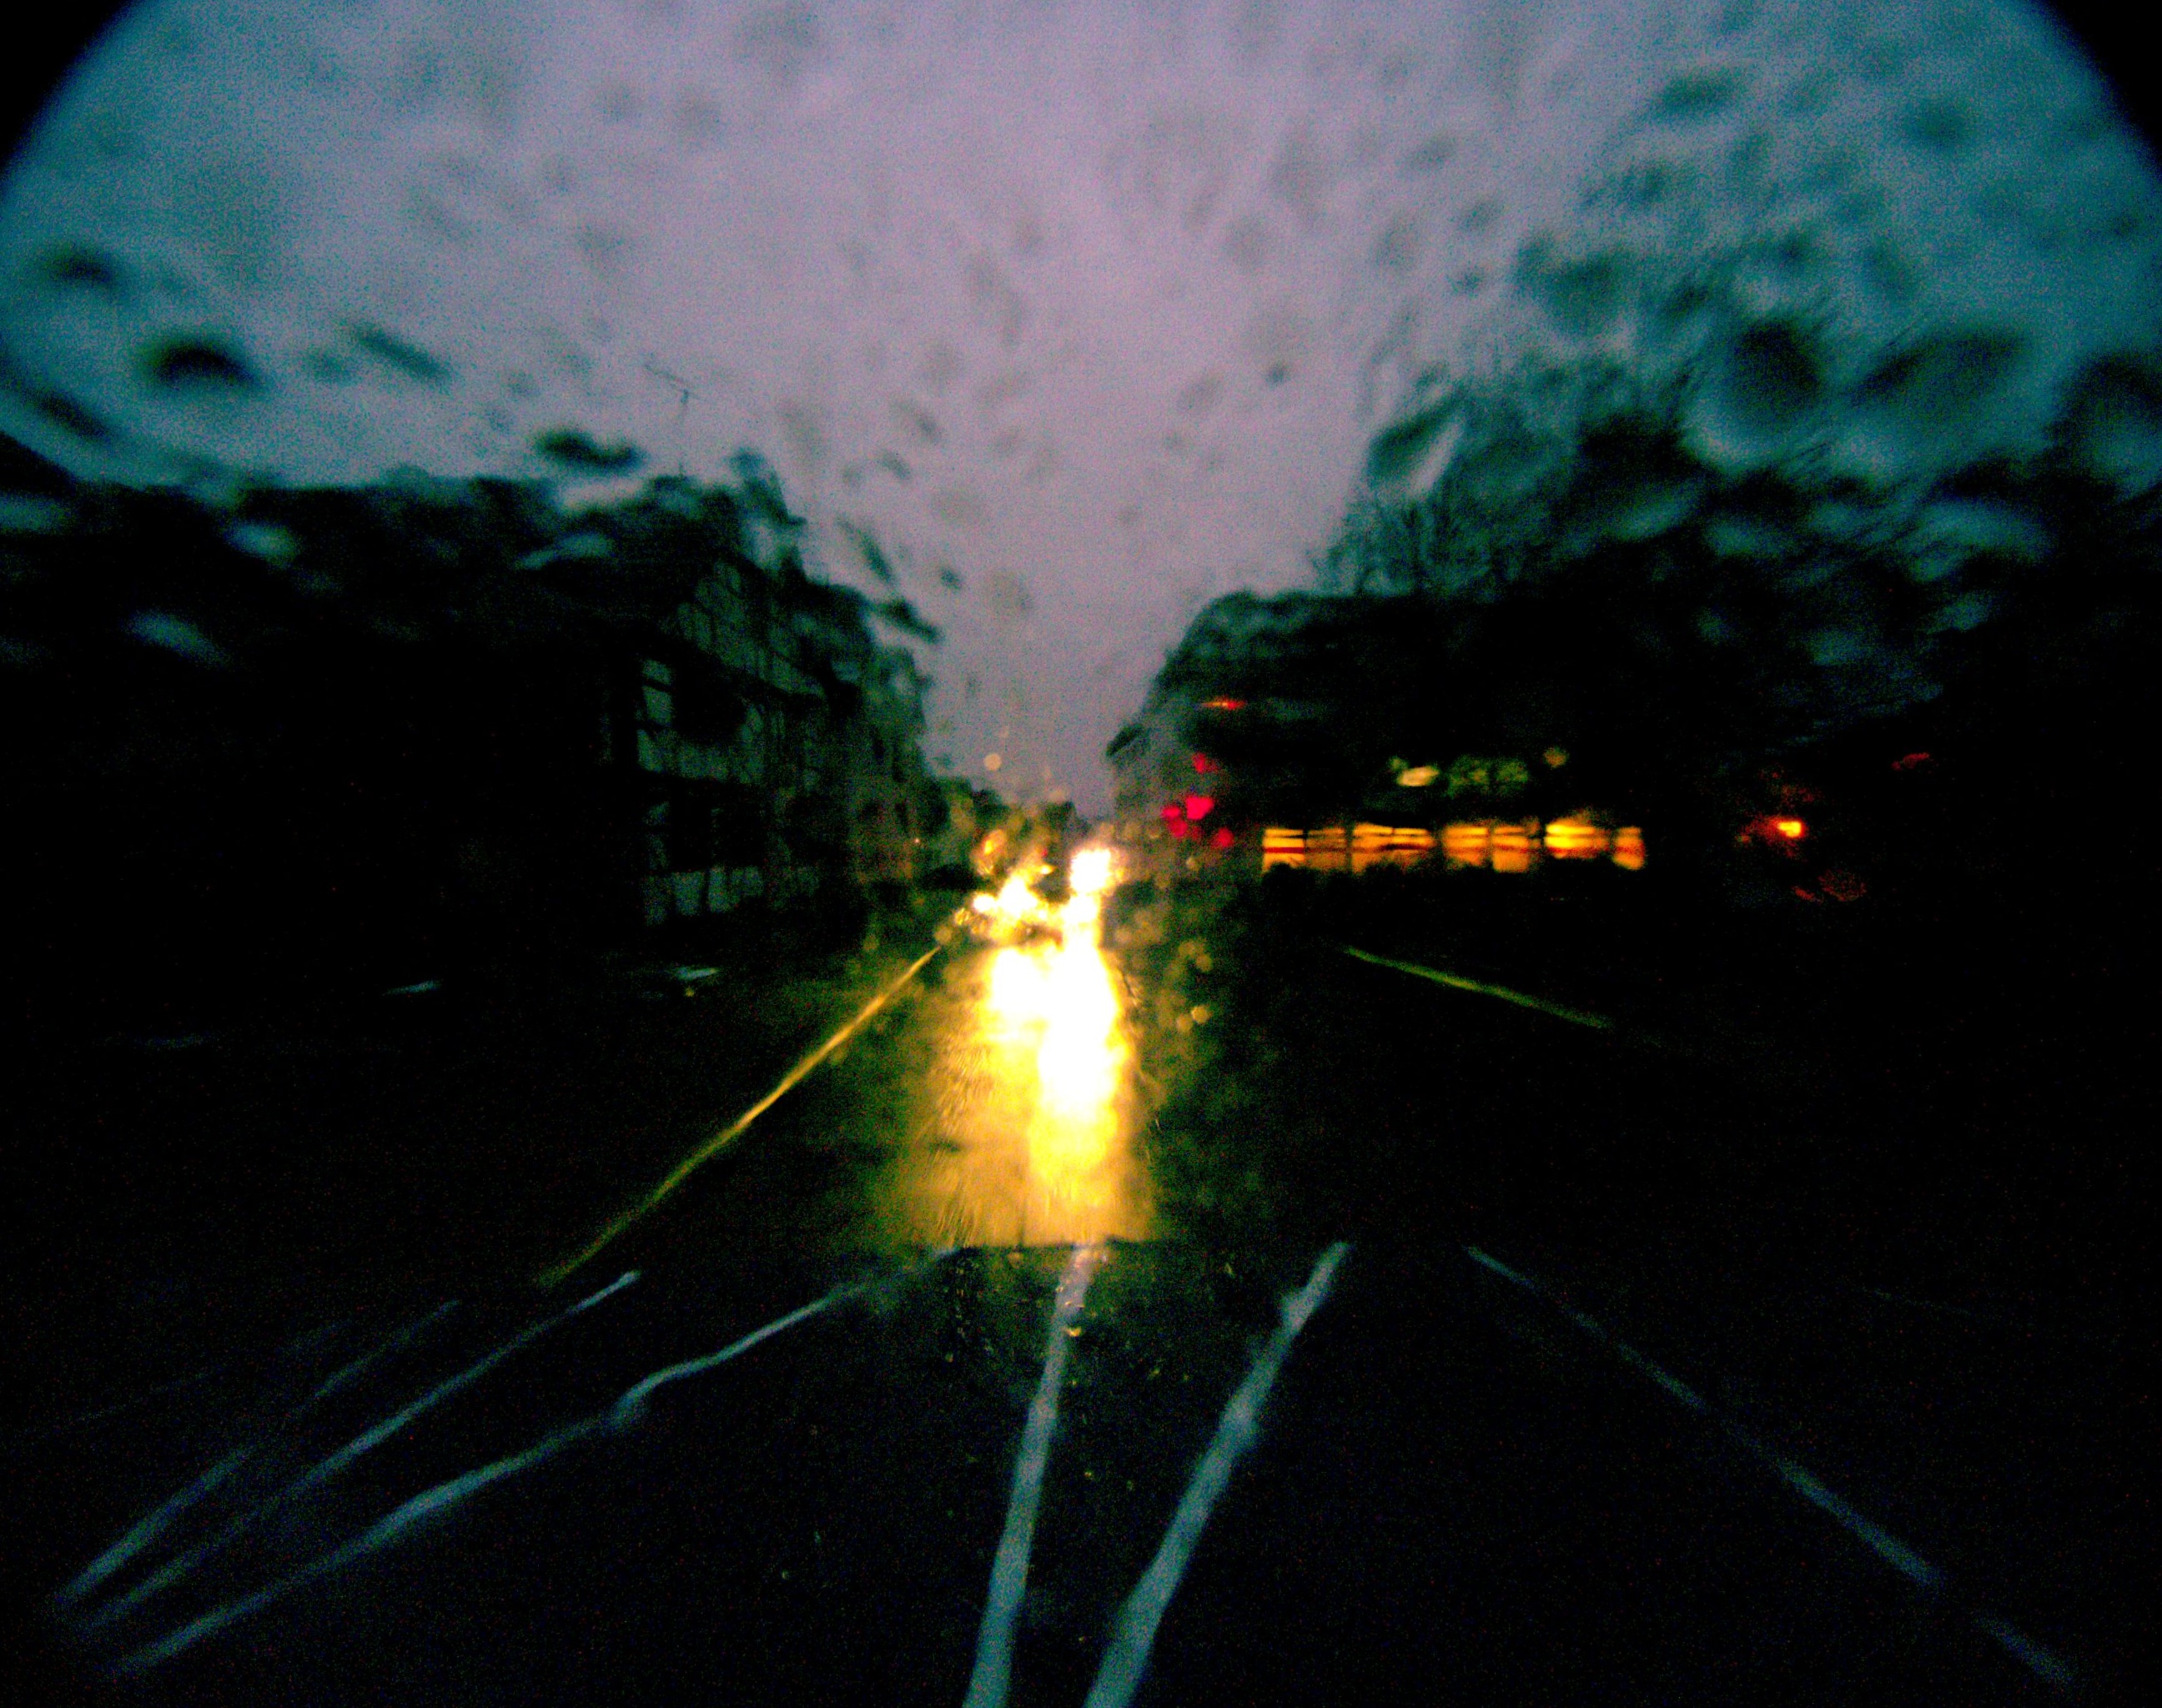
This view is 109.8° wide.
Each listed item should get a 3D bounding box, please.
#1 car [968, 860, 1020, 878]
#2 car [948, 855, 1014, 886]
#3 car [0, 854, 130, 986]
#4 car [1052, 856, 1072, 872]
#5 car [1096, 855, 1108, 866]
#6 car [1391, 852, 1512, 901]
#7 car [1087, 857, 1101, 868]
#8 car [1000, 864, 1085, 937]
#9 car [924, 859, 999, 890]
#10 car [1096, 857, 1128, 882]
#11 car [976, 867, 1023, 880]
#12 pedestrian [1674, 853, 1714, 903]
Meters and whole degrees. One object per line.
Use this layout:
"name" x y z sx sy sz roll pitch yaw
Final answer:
"car" -6.699 1.174 58.555 3.889 1.359 1.551 0 0 -3
"car" -6.068 0.998 46.243 3.891 1.866 1.868 0 0 -8
"car" -15.218 0.820 10.004 3.424 1.535 1.618 2 3 3
"car" -2.051 1.057 80.589 1.924 1.608 3.867 -1 0 -5
"car" 4.032 1.273 142.987 1.836 2.002 3.702 -1 0 7
"car" 12.279 0.735 25.324 3.306 1.498 1.503 -1 0 8
"car" 2.104 1.347 119.626 1.836 1.703 3.702 -1 0 6
"car" -0.802 1.018 18.010 1.731 1.475 3.604 -2 0 1
"car" -6.371 1.090 40.739 3.854 1.618 1.611 1 0 -7
"car" 2.089 1.011 51.916 1.900 1.607 3.826 -1 0 -2
"car" -6.854 1.640 64.395 3.889 1.120 1.551 0 0 -3
"pedestrian" 16.629 0.651 20.612 0.620 1.331 0.568 -1 0 10
